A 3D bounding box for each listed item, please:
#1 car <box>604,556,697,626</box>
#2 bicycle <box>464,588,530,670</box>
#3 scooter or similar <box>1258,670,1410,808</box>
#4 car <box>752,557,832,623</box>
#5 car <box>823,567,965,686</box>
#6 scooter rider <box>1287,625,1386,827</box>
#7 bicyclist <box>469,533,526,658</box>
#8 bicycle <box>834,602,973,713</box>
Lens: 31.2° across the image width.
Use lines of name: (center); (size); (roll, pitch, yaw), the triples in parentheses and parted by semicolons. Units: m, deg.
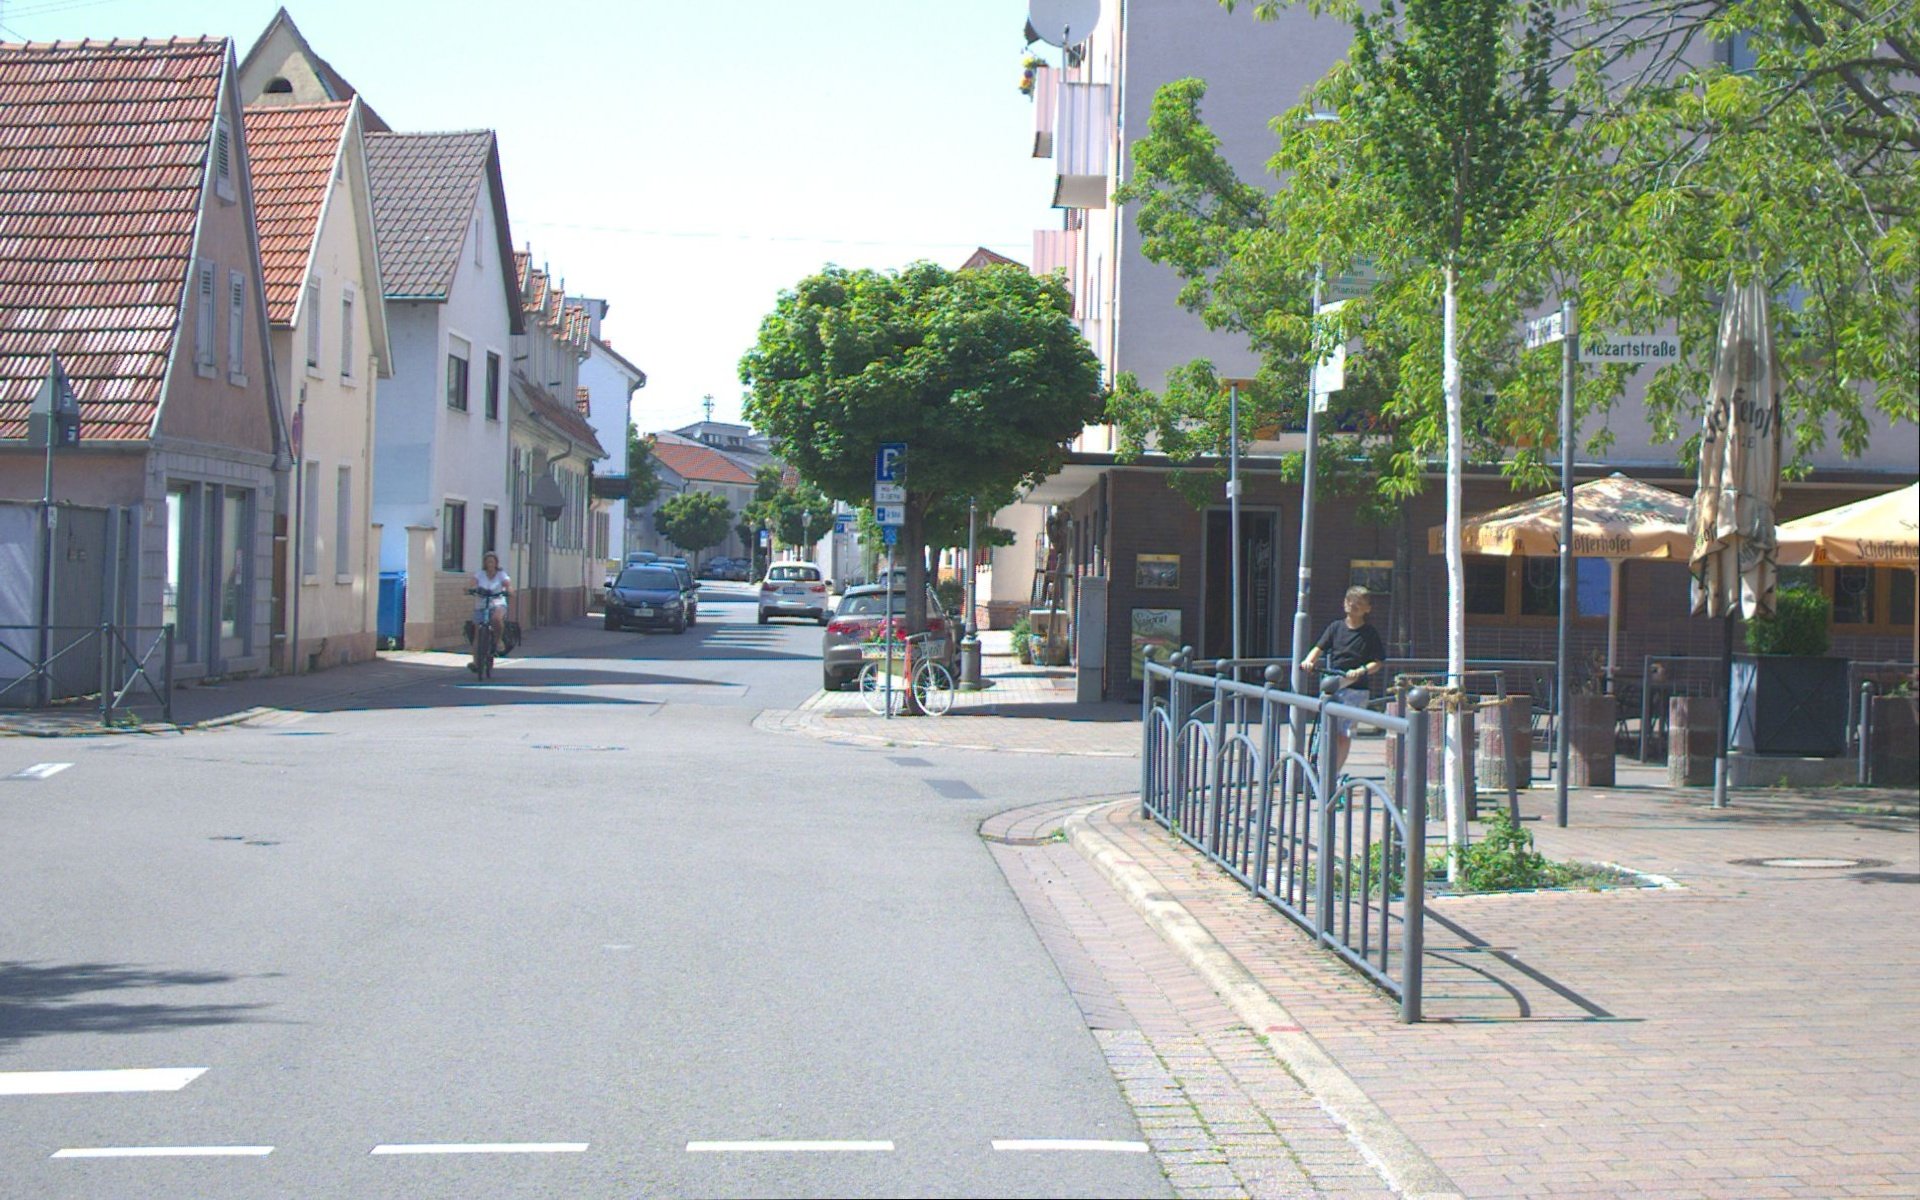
car: (-7.015, -0.216, 78.210); (1.714, 1.512, 3.786); (1, 0, 0)
bicycle: (-6.321, 0.383, 47.019); (0.674, 1.090, 1.896); (0, 0, -1)
scooter or similar: (2.430, 0.901, 22.327); (0.887, 0.870, 0.380); (1, 0, -21)
car: (-4.314, -0.269, 88.888); (1.834, 1.646, 4.000); (1, 0, 0)
car: (-0.871, 0.329, 47.403); (1.805, 1.496, 4.000); (1, 1, 1)
scooter rider: (2.442, 0.812, 22.308); (0.416, 1.281, 0.518); (1, 0, -21)
bicyclist: (-6.328, -0.064, 47.075); (0.669, 1.685, 0.761); (0, 0, -1)
bicycle: (-0.642, 0.639, 38.632); (0.525, 1.189, 1.674); (1, 0, -44)
